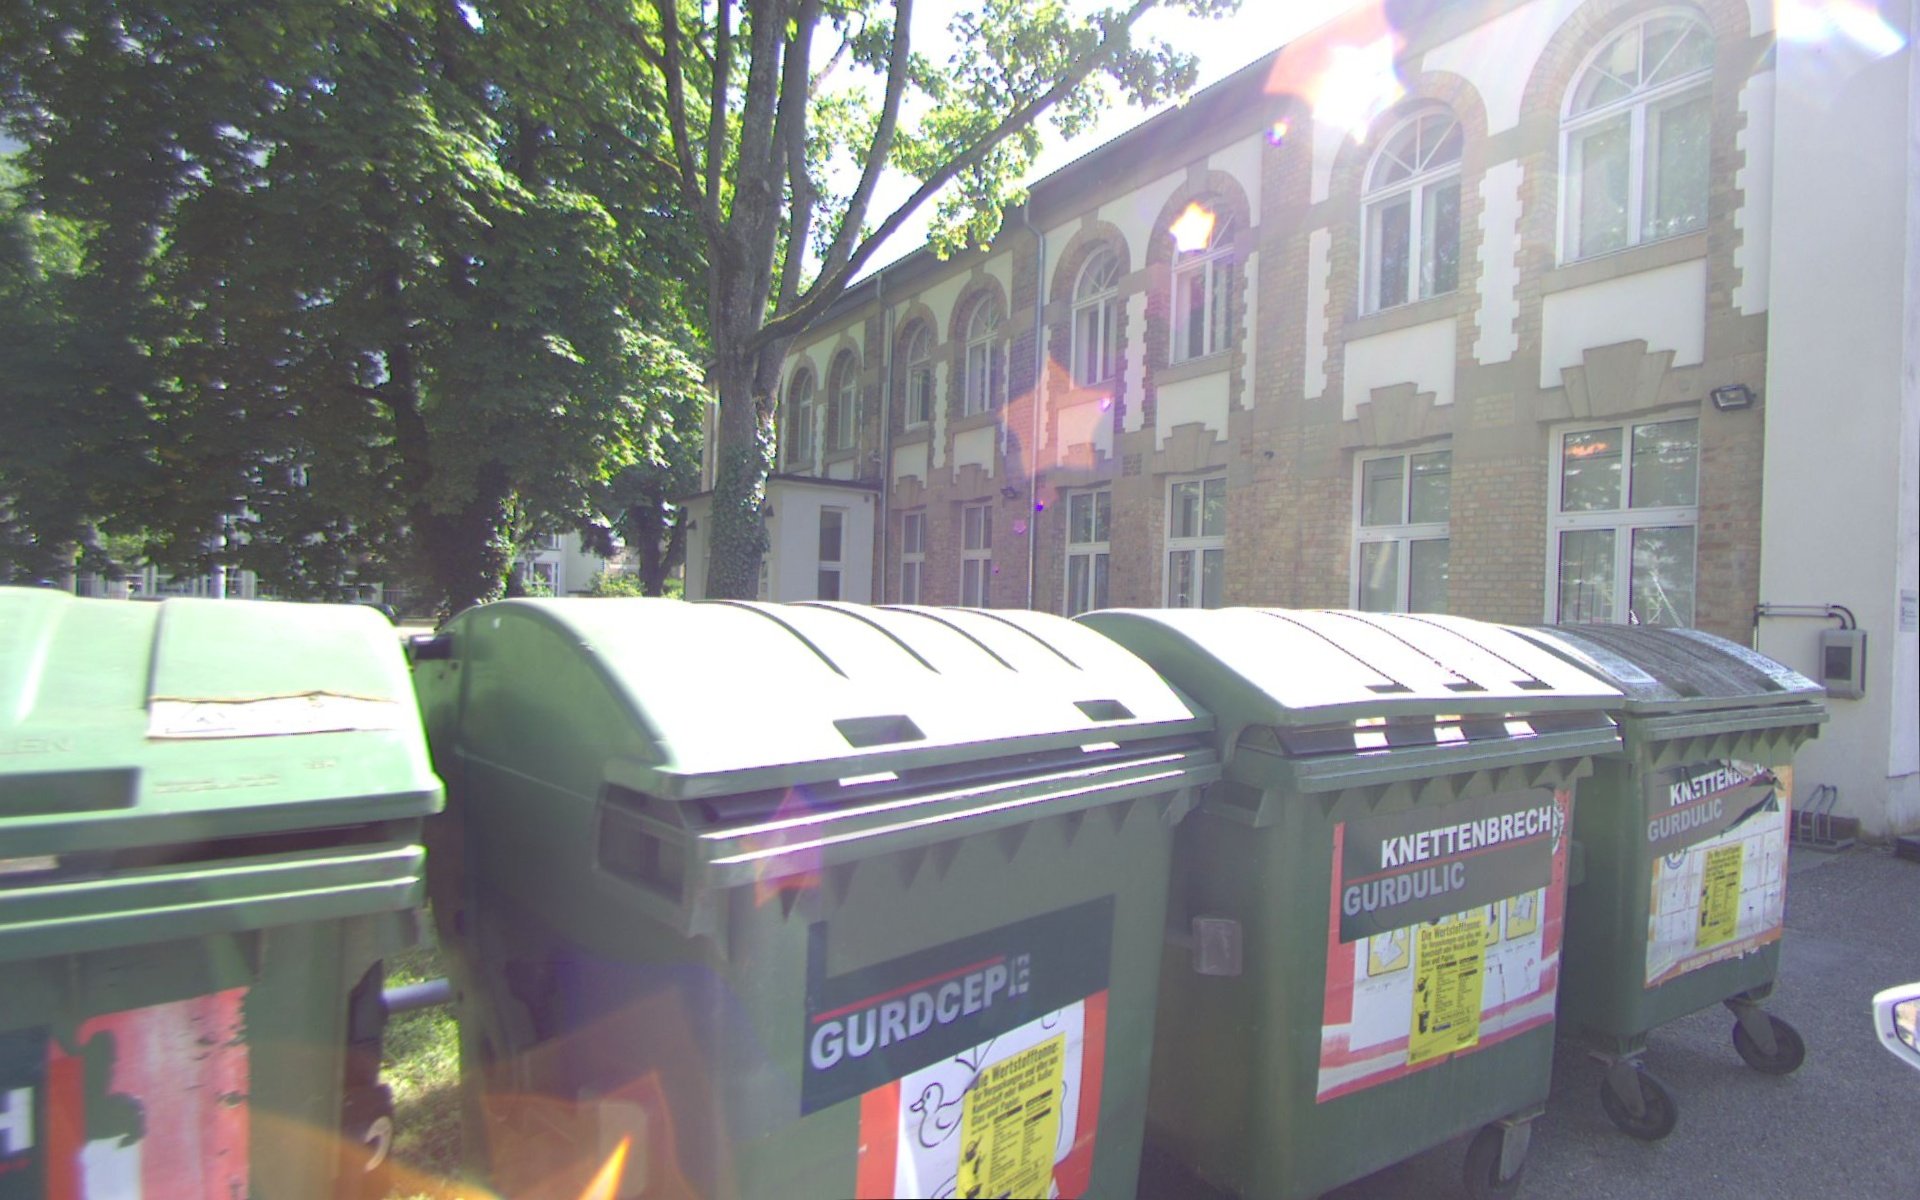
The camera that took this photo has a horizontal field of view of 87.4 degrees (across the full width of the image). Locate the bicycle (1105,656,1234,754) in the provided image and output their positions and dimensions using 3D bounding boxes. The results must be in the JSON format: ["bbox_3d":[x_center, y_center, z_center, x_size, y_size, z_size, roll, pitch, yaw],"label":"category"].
[{"bbox_3d":[2.348,1.140,11.191,1.524,1.005,0.442,1,-1,-32],"label":"bicycle"}]

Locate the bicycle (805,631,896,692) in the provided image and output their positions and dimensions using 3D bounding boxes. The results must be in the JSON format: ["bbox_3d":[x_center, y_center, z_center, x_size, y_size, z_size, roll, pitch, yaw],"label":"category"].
[{"bbox_3d":[-1.886,1.069,17.457,1.526,1.005,0.441,3,0,-36],"label":"bicycle"}]

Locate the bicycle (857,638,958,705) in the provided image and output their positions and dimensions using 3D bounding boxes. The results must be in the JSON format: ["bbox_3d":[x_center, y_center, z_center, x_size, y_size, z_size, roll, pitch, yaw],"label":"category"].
[{"bbox_3d":[-0.816,1.110,15.853,1.582,1.002,0.371,2,0,-32],"label":"bicycle"}]

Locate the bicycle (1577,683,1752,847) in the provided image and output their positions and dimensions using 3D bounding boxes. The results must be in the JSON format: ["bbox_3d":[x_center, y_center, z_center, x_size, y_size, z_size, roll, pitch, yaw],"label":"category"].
[{"bbox_3d":[5.097,1.138,7.236,1.612,1.005,0.442,1,-1,-32],"label":"bicycle"}]

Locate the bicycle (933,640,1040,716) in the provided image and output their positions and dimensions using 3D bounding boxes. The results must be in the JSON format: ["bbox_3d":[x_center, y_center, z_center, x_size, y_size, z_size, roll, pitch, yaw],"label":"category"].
[{"bbox_3d":[0.380,1.072,14.095,1.525,1.005,0.442,1,-1,-34],"label":"bicycle"}]

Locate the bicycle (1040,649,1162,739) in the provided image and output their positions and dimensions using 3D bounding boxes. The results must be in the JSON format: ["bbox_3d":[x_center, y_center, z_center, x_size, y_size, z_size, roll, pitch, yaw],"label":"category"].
[{"bbox_3d":[1.719,1.108,12.148,1.524,1.005,0.442,1,-1,-32],"label":"bicycle"}]

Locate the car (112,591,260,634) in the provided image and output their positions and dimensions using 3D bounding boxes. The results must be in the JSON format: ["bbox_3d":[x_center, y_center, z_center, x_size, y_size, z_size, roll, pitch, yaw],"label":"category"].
[{"bbox_3d":[-29.950,0.496,39.008,4.153,1.559,1.776,1,-1,-18],"label":"car"}]

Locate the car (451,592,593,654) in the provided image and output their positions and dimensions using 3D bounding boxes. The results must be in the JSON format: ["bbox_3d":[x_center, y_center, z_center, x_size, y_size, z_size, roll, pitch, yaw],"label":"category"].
[{"bbox_3d":[-14.731,0.770,33.890,3.974,1.940,1.973,1,-1,-45],"label":"car"}]

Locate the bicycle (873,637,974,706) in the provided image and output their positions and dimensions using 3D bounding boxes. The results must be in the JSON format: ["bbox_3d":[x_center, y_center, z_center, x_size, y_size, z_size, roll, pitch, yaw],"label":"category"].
[{"bbox_3d":[-0.549,1.074,15.455,1.524,1.005,0.442,1,-1,-32],"label":"bicycle"}]

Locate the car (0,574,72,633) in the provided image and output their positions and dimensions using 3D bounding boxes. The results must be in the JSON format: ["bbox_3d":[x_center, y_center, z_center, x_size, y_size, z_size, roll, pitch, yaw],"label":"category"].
[{"bbox_3d":[-32.468,0.118,33.412,3.936,1.932,1.780,1,-1,-18],"label":"car"}]

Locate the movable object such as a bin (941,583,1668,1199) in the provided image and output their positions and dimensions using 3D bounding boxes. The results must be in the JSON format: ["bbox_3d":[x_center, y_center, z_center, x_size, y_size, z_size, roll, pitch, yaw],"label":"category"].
[{"bbox_3d":[0.865,0.712,2.644,1.352,1.450,1.236,2,-1,-35],"label":"movable object such as a bin"}]

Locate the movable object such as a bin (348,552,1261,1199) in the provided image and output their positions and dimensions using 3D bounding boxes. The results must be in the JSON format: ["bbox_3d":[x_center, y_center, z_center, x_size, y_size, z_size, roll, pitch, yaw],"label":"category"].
[{"bbox_3d":[-0.302,0.685,1.919,1.216,1.450,1.231,2,-1,-45],"label":"movable object such as a bin"}]

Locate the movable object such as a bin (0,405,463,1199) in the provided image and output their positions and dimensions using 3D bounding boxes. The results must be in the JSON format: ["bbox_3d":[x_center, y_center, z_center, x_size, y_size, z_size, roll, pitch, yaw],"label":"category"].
[{"bbox_3d":[-1.460,0.568,1.149,1.328,1.501,1.234,2,-1,-40],"label":"movable object such as a bin"}]

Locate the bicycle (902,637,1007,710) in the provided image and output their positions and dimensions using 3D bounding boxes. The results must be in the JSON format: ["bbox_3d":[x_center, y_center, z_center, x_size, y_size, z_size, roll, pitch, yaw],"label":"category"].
[{"bbox_3d":[-0.071,1.052,14.598,1.524,1.005,0.442,1,-1,-32],"label":"bicycle"}]

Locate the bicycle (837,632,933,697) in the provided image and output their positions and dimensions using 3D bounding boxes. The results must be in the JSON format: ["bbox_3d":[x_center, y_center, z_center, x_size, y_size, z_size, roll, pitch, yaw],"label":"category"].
[{"bbox_3d":[-1.210,1.033,16.336,1.524,1.005,0.442,1,-1,-32],"label":"bicycle"}]

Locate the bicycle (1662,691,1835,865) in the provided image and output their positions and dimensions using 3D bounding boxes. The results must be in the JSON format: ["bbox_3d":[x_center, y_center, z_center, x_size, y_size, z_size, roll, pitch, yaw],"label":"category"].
[{"bbox_3d":[5.406,1.163,6.863,1.524,1.005,0.442,1,-1,-32],"label":"bicycle"}]

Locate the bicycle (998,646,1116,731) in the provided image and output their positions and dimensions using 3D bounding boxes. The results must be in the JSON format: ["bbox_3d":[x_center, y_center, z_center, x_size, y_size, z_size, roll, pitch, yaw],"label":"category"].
[{"bbox_3d":[1.242,1.094,12.721,1.524,1.005,0.442,1,-1,-32],"label":"bicycle"}]

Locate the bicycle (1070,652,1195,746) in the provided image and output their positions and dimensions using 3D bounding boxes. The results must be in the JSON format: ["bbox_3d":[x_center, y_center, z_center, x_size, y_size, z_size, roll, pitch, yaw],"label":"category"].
[{"bbox_3d":[2.021,1.128,11.689,1.524,1.005,0.442,1,-1,-32],"label":"bicycle"}]

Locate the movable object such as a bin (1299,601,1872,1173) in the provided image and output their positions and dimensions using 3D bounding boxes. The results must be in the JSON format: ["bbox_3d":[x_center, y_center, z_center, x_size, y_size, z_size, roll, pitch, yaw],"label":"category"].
[{"bbox_3d":[2.119,0.751,3.458,1.336,1.450,1.236,2,-1,-35],"label":"movable object such as a bin"}]
